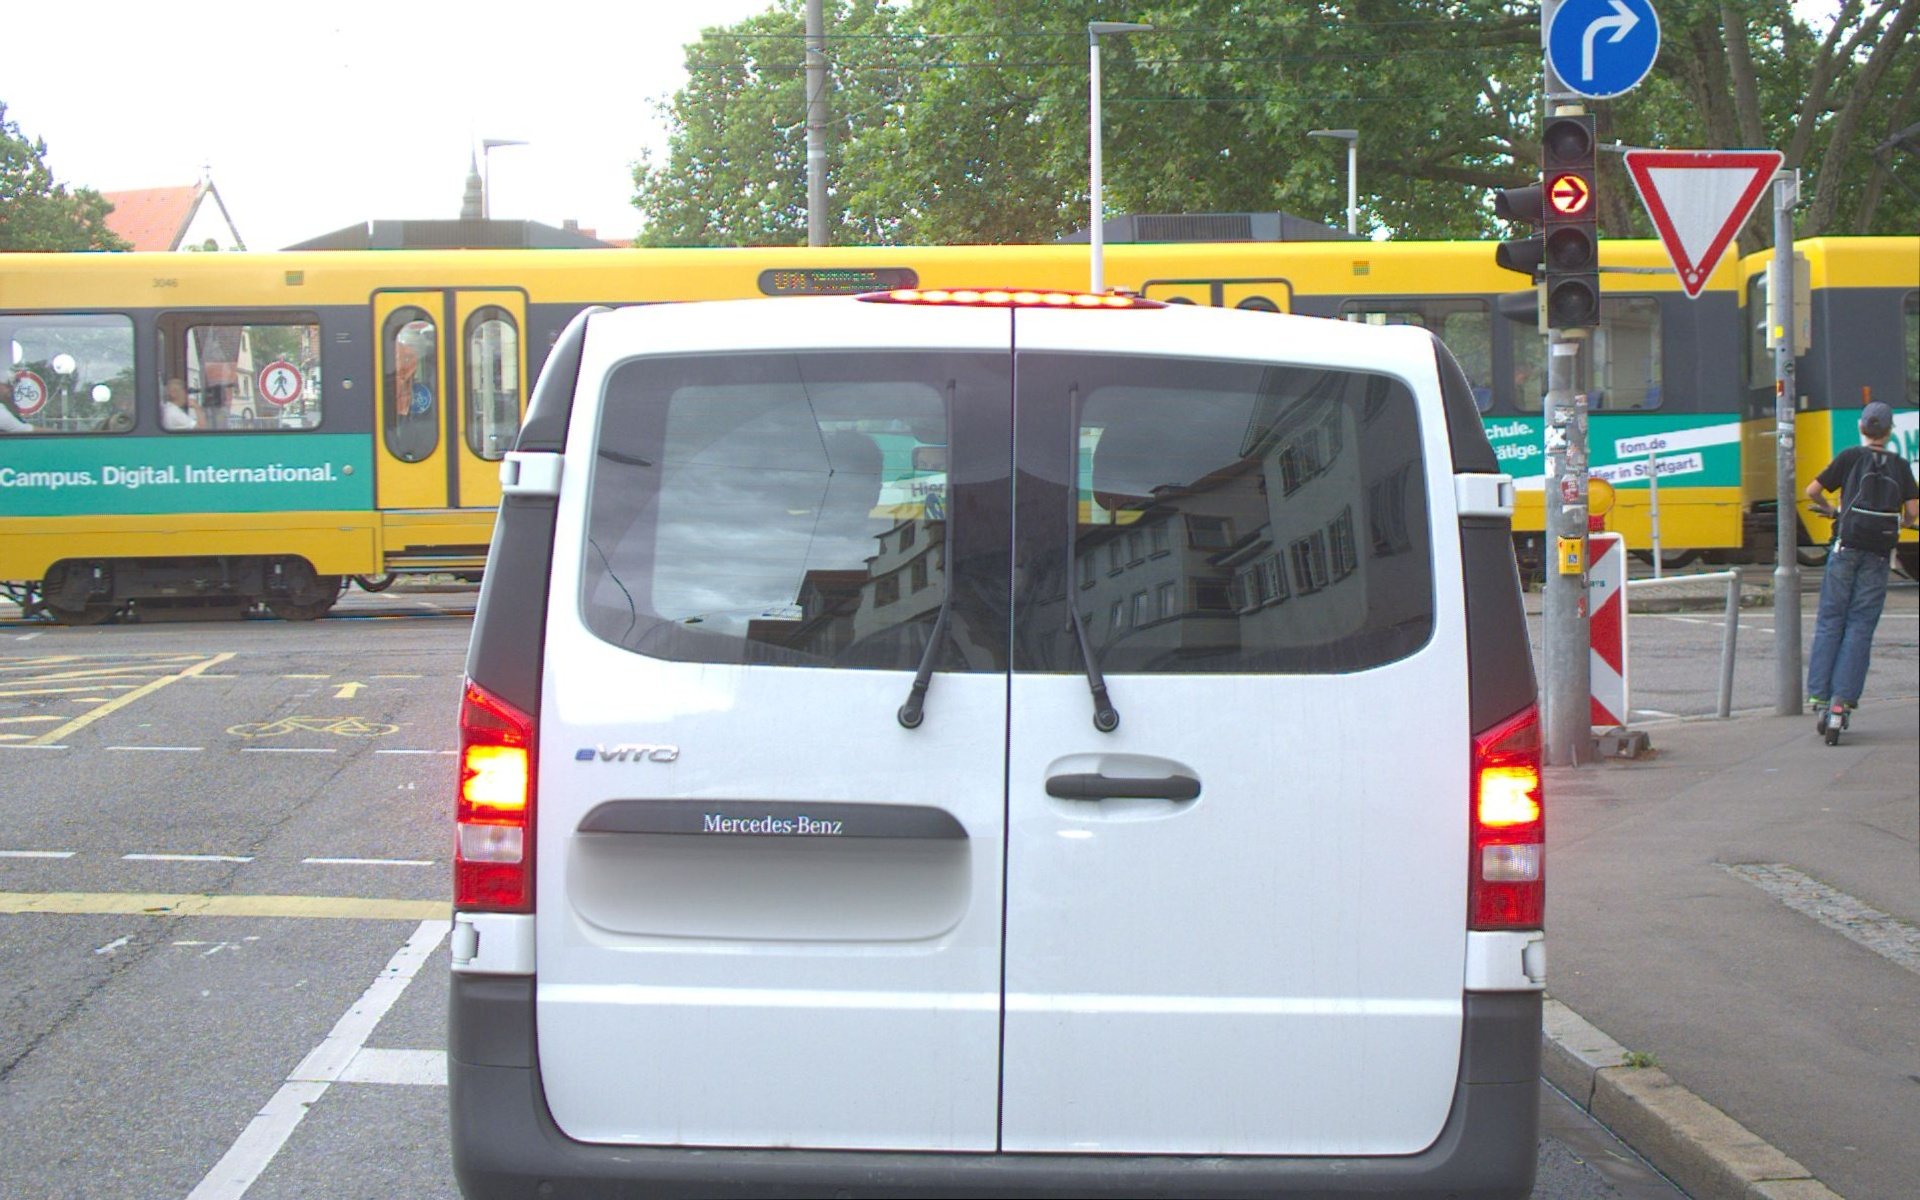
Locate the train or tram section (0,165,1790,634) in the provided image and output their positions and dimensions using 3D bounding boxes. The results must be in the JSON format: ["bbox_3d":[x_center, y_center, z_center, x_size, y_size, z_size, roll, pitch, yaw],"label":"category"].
[{"bbox_3d":[-1.757,-1.998,33.655,19.221,3.988,3.310,-2,4,-7],"label":"train or tram section"}]

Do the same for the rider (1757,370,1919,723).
[{"bbox_3d":[4.794,-0.292,18.555,0.718,1.841,0.797,-3,1,-1],"label":"rider"}]

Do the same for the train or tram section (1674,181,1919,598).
[{"bbox_3d":[17.056,-2.359,35.678,18.766,3.988,3.267,-2,4,-6],"label":"train or tram section"}]

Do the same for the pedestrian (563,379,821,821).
[{"bbox_3d":[-1.198,-0.001,15.300,1.003,1.908,0.625,1,1,-18],"label":"pedestrian"}]

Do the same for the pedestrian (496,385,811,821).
[{"bbox_3d":[-1.353,-0.011,15.225,1.150,1.850,0.679,-3,2,-40],"label":"pedestrian"}]

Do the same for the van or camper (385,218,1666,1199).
[{"bbox_3d":[-0.009,0.330,7.476,1.937,1.918,4.442,1,2,-3],"label":"van or camper"}]
